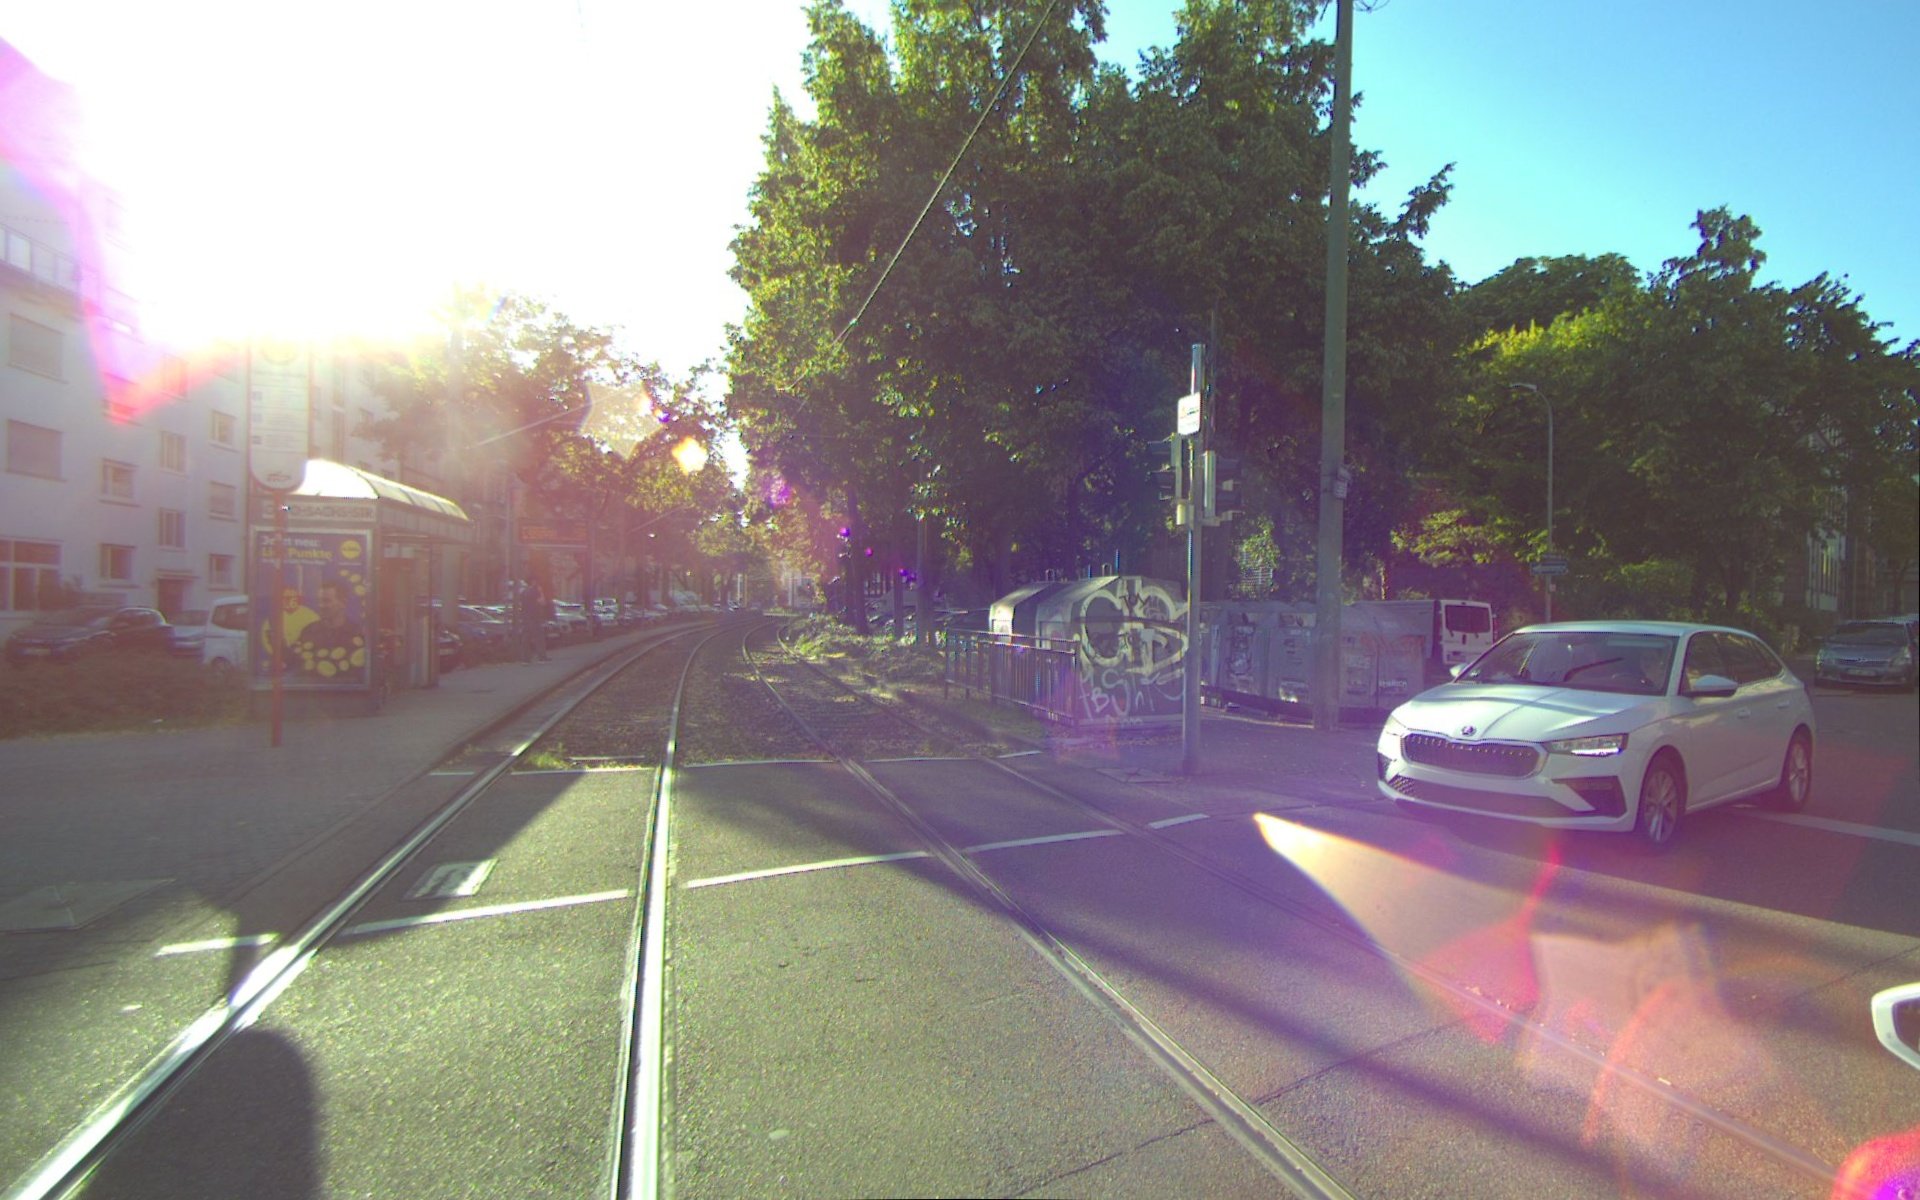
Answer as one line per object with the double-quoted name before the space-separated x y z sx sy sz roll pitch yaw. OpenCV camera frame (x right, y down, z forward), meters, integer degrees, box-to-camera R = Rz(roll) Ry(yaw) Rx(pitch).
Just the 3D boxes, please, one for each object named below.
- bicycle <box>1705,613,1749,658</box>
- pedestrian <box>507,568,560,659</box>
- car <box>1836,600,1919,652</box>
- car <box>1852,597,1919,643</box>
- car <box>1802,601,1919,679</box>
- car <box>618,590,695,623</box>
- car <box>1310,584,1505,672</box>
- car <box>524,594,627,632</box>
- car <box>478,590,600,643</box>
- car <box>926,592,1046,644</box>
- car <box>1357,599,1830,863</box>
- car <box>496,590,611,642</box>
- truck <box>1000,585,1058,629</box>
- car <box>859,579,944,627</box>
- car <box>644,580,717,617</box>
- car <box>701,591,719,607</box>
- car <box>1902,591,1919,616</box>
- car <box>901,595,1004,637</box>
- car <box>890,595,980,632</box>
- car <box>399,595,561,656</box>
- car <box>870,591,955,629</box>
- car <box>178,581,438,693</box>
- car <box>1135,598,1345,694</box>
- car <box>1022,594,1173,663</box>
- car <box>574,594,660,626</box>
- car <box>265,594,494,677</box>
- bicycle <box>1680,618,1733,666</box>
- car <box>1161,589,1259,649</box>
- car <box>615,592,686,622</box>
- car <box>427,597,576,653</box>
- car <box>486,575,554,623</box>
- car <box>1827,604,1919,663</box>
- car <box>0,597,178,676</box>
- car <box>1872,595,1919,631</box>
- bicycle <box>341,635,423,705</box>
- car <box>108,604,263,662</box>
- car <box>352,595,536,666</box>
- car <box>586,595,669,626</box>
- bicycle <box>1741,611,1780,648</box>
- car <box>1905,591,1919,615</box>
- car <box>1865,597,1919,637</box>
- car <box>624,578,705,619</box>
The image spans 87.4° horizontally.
"bicycle" 20.714 0.928 27.103 2.610 1.116 0.591 0 1 -45
"pedestrian" -9.253 0.285 21.829 0.835 1.936 0.837 0 1 -5
"car" 30.592 0.811 33.396 3.904 1.498 1.808 0 4 -44
"car" 35.143 0.708 37.931 3.904 1.521 1.808 0 4 -44
"car" 22.174 0.899 24.667 4.262 1.637 1.808 0 4 -44
"car" -18.699 0.397 61.988 4.158 1.721 1.858 -4 1 18
"car" 11.153 0.631 25.457 1.920 2.030 4.640 0 0 -18
"car" -17.848 0.598 46.690 4.158 1.492 1.858 -4 1 18
"car" -15.829 0.622 37.762 4.163 1.673 1.855 -3 1 26
"car" 0.910 0.617 33.887 3.752 1.516 1.739 3 -1 9
"car" 4.914 0.747 7.603 4.023 1.476 1.690 0 1 -36
"car" -16.262 0.648 40.183 4.163 1.772 1.855 -3 1 26
"truck" 3.887 0.388 57.176 2.331 2.384 4.375 0 0 -10
"car" -3.347 0.168 57.358 4.412 2.509 1.819 3 -1 21
"car" -22.676 -0.119 81.492 5.165 2.606 2.273 -3 1 18
"car" -40.546 -0.178 162.956 1.683 2.597 5.565 -1 1 -2
"car" 61.615 0.223 64.229 3.904 1.521 1.808 0 4 -44
"car" -0.280 0.643 39.493 3.752 1.409 1.739 3 -1 9
"car" -1.118 0.623 45.440 3.752 1.440 1.739 3 -1 9
"car" -14.061 0.748 29.480 4.156 1.478 1.608 -4 1 14
"car" -2.272 0.497 48.334 3.752 1.608 1.739 3 -1 9
"car" -11.492 0.654 17.708 4.159 1.675 1.607 -3 1 21
"car" 5.280 0.825 19.244 3.660 1.541 1.608 3 1 13
"car" 3.454 0.670 24.986 3.545 1.466 1.608 3 1 13
"car" -18.865 0.549 55.279 4.158 1.492 1.858 -4 1 18
"car" -12.279 0.740 21.305 4.122 1.456 1.701 -4 1 15
"bicycle" 18.769 1.025 25.231 2.608 1.116 0.591 0 1 -43
"car" 8.487 0.617 34.377 1.550 1.929 3.889 0 0 -16
"car" -20.561 0.460 66.764 4.158 1.721 1.858 -4 1 18
"car" -14.547 0.788 31.915 4.156 1.478 1.608 -4 1 14
"car" -28.374 -0.081 65.028 2.513 2.926 5.474 -1 1 -8
"car" 26.793 0.921 29.364 3.904 1.466 1.808 0 4 -44
"car" -20.973 0.792 24.247 1.686 1.695 3.990 -1 1 -12
"car" 43.368 0.587 46.184 3.904 1.521 1.808 0 4 -44
"bicycle" -7.595 0.891 13.251 0.442 0.794 1.639 0 0 -12
"car" -21.995 0.885 28.729 1.684 1.465 3.995 -1 1 -8
"car" -13.388 0.788 26.127 4.156 1.528 1.608 -4 1 14
"car" -19.178 0.614 57.954 4.158 1.492 1.858 -4 1 18
"bicycle" 25.276 0.917 31.697 2.608 1.116 0.591 0 1 -43
"car" 65.209 0.243 67.801 3.904 1.521 1.808 0 4 -44
"car" 39.815 0.688 42.581 3.904 1.521 1.808 0 4 -44
"car" -21.443 -0.115 72.916 5.165 2.606 2.273 -3 1 18
